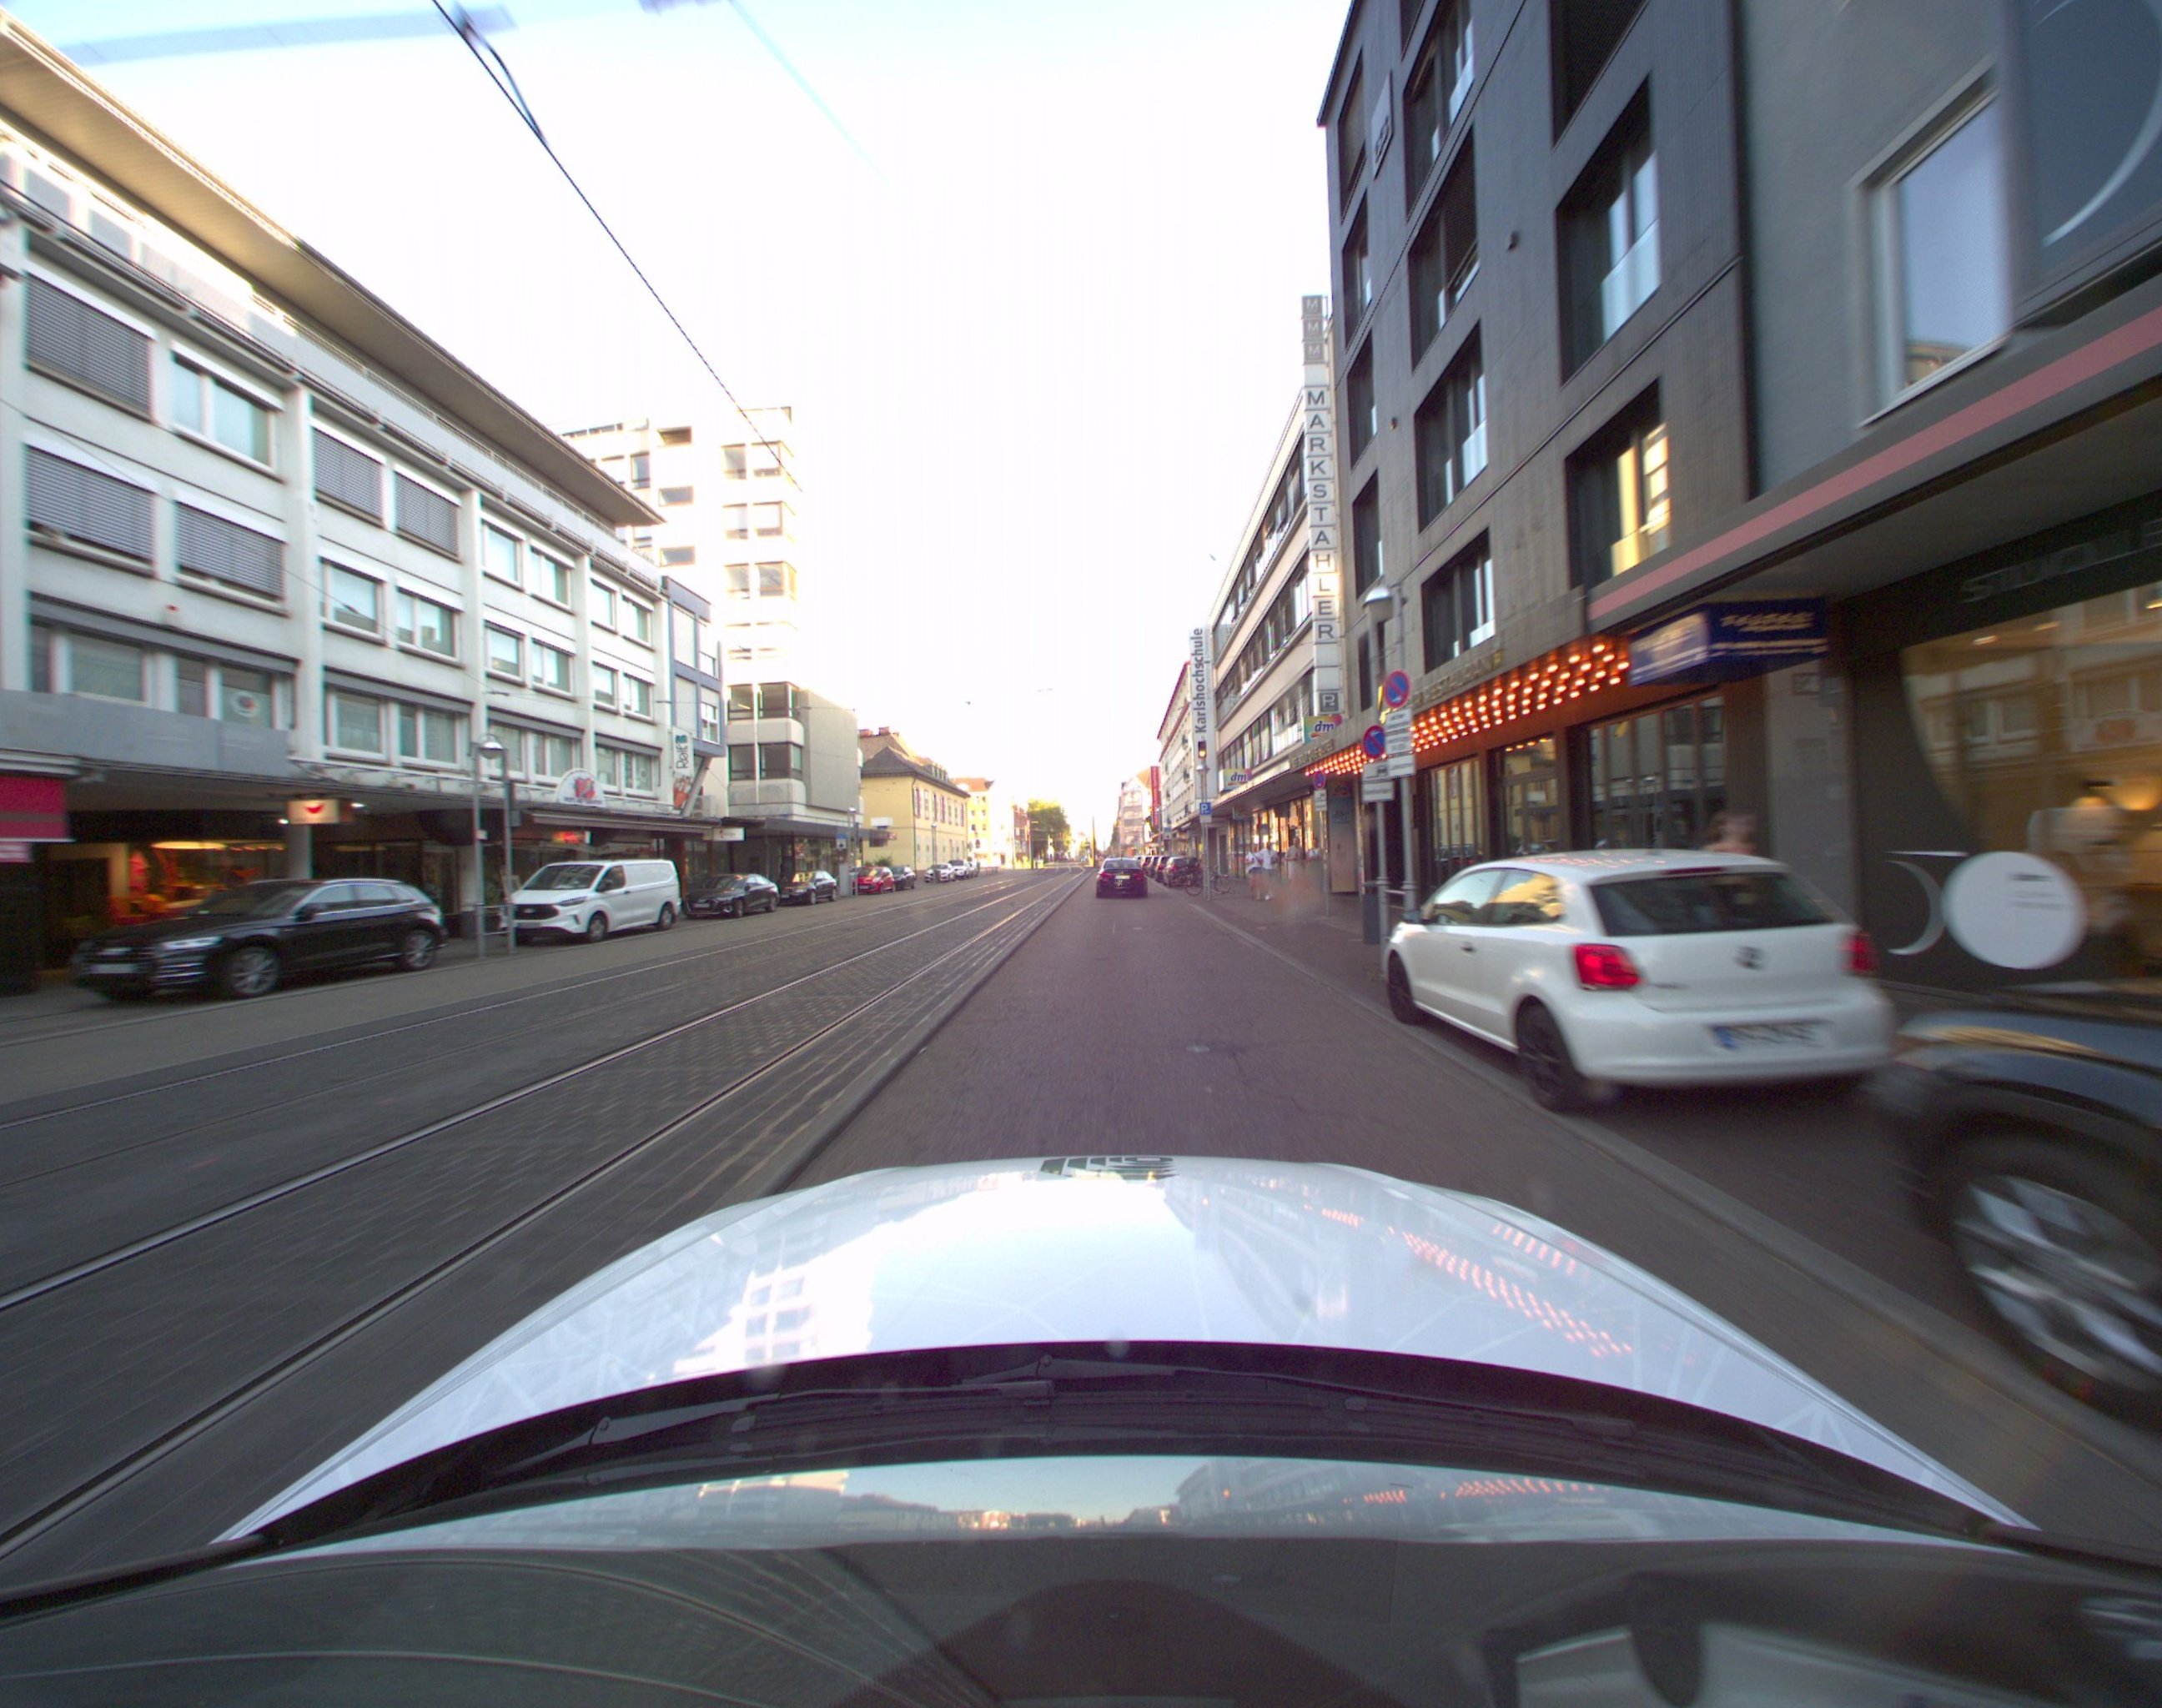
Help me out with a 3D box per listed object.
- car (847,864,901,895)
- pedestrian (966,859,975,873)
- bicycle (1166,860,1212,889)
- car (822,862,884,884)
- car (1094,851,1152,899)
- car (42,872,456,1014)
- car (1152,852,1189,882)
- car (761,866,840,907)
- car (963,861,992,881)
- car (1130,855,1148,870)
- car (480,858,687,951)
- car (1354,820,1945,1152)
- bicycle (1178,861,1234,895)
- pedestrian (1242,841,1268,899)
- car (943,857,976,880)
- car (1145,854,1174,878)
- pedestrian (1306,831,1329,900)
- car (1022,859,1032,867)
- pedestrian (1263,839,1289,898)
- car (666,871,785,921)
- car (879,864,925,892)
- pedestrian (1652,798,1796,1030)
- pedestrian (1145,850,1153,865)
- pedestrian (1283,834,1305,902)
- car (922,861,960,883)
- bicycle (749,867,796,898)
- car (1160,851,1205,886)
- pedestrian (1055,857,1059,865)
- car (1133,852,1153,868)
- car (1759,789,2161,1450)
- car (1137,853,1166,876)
[{"bbox_3d":[-11.324,1.372,44.766,1.679,1.512,4.217,-2,0,2],"label":"car"},{"bbox_3d":[-12.969,1.394,95.282,0.950,1.584,0.732,-2,-1,-6],"label":"pedestrian"},{"bbox_3d":[4.709,0.888,35.564,1.880,1.138,0.676,-2,0,-1],"label":"bicycle"},{"bbox_3d":[-16.697,1.383,59.769,3.969,1.467,1.848,-2,0,3],"label":"car"},{"bbox_3d":[1.534,0.740,30.742,1.986,1.585,4.002,-2,0,2],"label":"car"},{"bbox_3d":[-12.651,1.215,12.946,1.851,1.721,4.528,-1,0,1],"label":"car"},{"bbox_3d":[5.028,0.710,46.125,1.714,1.512,4.169,-4,0,2],"label":"car"},{"bbox_3d":[-11.783,1.323,34.556,1.680,1.512,4.447,-2,0,1],"label":"car"},{"bbox_3d":[-9.472,1.542,75.116,1.804,1.617,4.219,-2,0,4],"label":"car"},{"bbox_3d":[6.171,0.886,87.063,1.728,1.512,4.688,-4,0,2],"label":"car"},{"bbox_3d":[-12.318,1.144,20.703,1.948,1.977,5.163,-2,0,1],"label":"car"},{"bbox_3d":[3.449,0.658,5.967,1.671,1.542,3.888,-4,0,3],"label":"car"},{"bbox_3d":[4.578,0.860,29.817,1.880,1.077,0.676,-4,0,-1],"label":"bicycle"},{"bbox_3d":[5.346,0.487,25.065,0.602,1.727,0.646,-2,0,1],"label":"pedestrian"},{"bbox_3d":[-10.344,1.223,69.488,1.804,1.785,4.502,-2,0,4],"label":"car"},{"bbox_3d":[5.280,0.779,55.226,1.679,1.512,4.037,-4,0,2],"label":"car"},{"bbox_3d":[6.662,0.329,22.970,0.450,1.899,0.421,-2,0,1],"label":"pedestrian"},{"bbox_3d":[-13.225,2.137,199.839,1.988,1.901,4.810,-2,0,-1],"label":"car"},{"bbox_3d":[5.971,0.434,24.982,0.606,1.753,0.605,-2,0,1],"label":"pedestrian"},{"bbox_3d":[-12.093,1.364,28.079,1.986,1.466,4.559,-1,0,1],"label":"car"},{"bbox_3d":[-10.924,1.440,49.880,1.679,1.512,4.217,-2,0,2],"label":"car"},{"bbox_3d":[5.125,0.457,6.530,0.606,1.753,0.605,-2,0,1],"label":"pedestrian"},{"bbox_3d":[8.054,0.460,96.559,0.823,1.718,0.843,-4,-1,2],"label":"pedestrian"},{"bbox_3d":[6.046,0.382,23.143,0.453,1.899,0.421,-2,0,1],"label":"pedestrian"},{"bbox_3d":[-10.845,1.356,63.418,1.804,1.512,4.436,-2,0,4],"label":"car"},{"bbox_3d":[-15.429,1.427,40.767,1.962,1.426,0.834,-2,0,0],"label":"bicycle"},{"bbox_3d":[4.809,0.661,39.034,1.737,1.512,4.260,-4,0,2],"label":"car"},{"bbox_3d":[-6.498,1.887,221.495,0.984,2.014,0.726,0,-1,0],"label":"pedestrian"},{"bbox_3d":[6.182,0.609,81.768,1.778,1.512,4.054,-4,0,2],"label":"car"},{"bbox_3d":[3.350,0.598,1.026,1.663,1.575,4.036,-2,0,2],"label":"car"},{"bbox_3d":[5.232,0.772,61.102,1.784,1.512,4.712,-4,0,1],"label":"car"}]
